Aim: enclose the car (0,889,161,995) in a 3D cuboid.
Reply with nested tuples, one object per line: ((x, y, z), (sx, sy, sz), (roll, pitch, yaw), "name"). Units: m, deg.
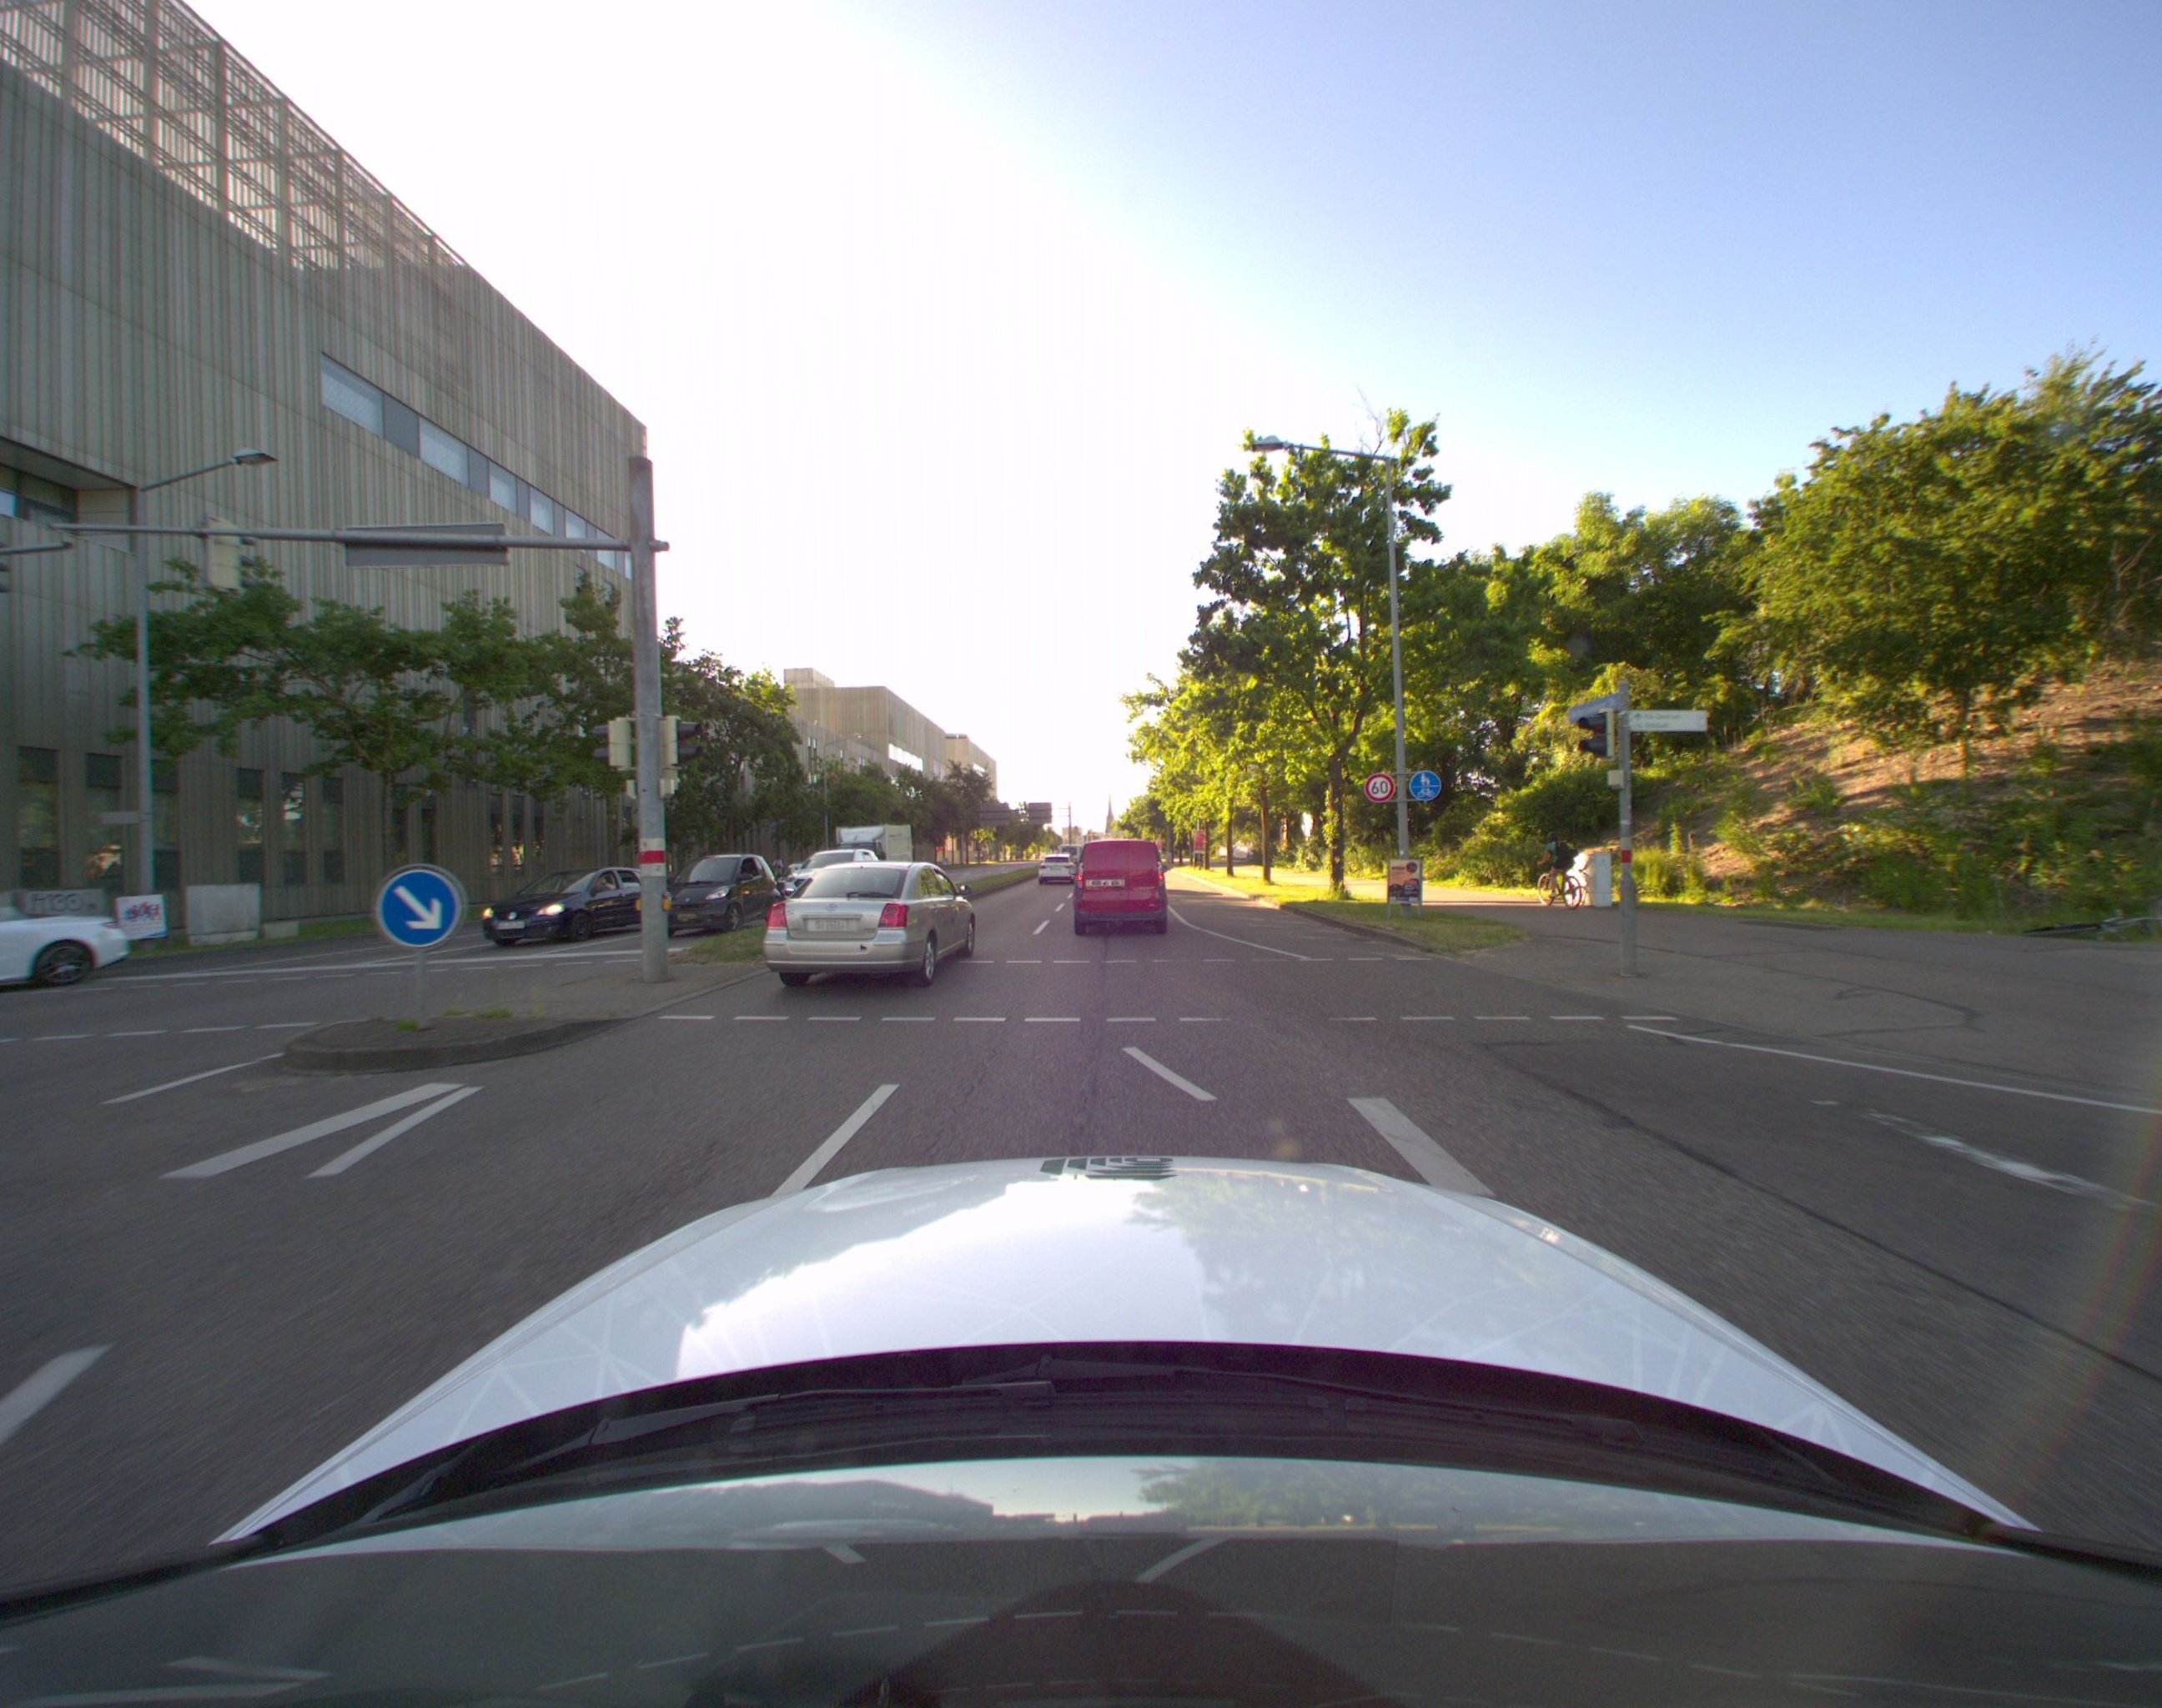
((-16.377, 1.349, 11.213), (1.696, 1.441, 4.883), (-3, 0, 2), "car")

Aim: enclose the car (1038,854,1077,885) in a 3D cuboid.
((-1.099, 0.741, 39.973), (1.655, 1.398, 3.560), (-2, 0, 2), "car")

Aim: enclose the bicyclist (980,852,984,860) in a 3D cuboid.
((-18.405, 0.371, 151.247), (0.560, 1.392, 0.747), (-2, -1, 1), "bicyclist")

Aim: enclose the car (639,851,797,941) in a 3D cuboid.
((-7.266, 0.777, 16.655), (1.595, 1.580, 3.215), (-3, 0, 3), "car")

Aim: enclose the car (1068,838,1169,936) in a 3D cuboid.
((0.737, 0.594, 16.698), (1.799, 1.759, 4.007), (0, 0, 2), "car")

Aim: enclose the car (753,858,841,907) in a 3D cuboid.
((-9.902, 0.953, 28.697), (1.614, 1.469, 3.642), (-3, 0, 3), "car")

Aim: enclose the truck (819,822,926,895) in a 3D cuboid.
((-9.523, 0.194, 38.127), (2.675, 2.960, 7.119), (-3, 0, 3), "truck")

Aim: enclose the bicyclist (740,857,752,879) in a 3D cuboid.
((-23.315, 0.977, 56.679), (0.505, 1.507, 0.645), (-2, 0, 1), "bicyclist")

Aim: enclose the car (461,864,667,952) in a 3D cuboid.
((-10.361, 1.001, 16.691), (1.697, 1.441, 3.754), (-3, 0, 1), "car")

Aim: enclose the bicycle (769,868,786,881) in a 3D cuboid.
((-22.006, 1.464, 59.068), (0.510, 0.890, 1.755), (-2, 0, 1), "bicycle")

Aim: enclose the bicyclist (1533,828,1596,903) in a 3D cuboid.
((10.291, 0.234, 17.351), (0.683, 1.522, 1.035), (-2, 0, -1), "bicyclist")

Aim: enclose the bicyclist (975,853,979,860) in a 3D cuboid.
((-19.381, 0.449, 151.683), (0.480, 1.395, 0.844), (-2, -1, 1), "bicyclist")

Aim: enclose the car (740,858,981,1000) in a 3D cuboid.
((-2.573, 0.797, 10.617), (1.834, 1.456, 4.165), (0, 0, 2), "car")

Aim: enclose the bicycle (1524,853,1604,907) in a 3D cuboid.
((10.306, 0.523, 17.468), (0.514, 1.072, 1.935), (-2, 0, -1), "bicycle")

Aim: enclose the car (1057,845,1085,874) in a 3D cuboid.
((-0.657, 0.338, 55.718), (1.655, 1.856, 3.560), (-2, 0, 2), "car")

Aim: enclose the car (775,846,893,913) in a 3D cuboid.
((-7.161, 0.673, 24.157), (1.817, 1.682, 4.661), (-4, 0, 2), "car")

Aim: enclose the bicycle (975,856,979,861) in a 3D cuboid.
((-19.365, 0.875, 151.734), (0.485, 1.003, 2.096), (-2, -1, 1), "bicycle")

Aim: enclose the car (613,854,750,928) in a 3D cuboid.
((-10.611, 0.920, 21.966), (1.617, 1.755, 3.878), (-3, -1, 2), "car")

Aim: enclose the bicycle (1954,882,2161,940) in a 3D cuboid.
((13.653, 0.757, 11.165), (0.846, 0.621, 2.174), (-4, 2, -32), "bicycle")

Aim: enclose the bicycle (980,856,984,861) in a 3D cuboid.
((-18.389, 0.842, 151.282), (0.568, 1.003, 2.096), (-2, -1, 1), "bicycle")

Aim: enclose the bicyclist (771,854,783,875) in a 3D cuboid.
((-22.025, 0.746, 59.057), (0.505, 1.442, 0.753), (-2, 0, 1), "bicyclist")
